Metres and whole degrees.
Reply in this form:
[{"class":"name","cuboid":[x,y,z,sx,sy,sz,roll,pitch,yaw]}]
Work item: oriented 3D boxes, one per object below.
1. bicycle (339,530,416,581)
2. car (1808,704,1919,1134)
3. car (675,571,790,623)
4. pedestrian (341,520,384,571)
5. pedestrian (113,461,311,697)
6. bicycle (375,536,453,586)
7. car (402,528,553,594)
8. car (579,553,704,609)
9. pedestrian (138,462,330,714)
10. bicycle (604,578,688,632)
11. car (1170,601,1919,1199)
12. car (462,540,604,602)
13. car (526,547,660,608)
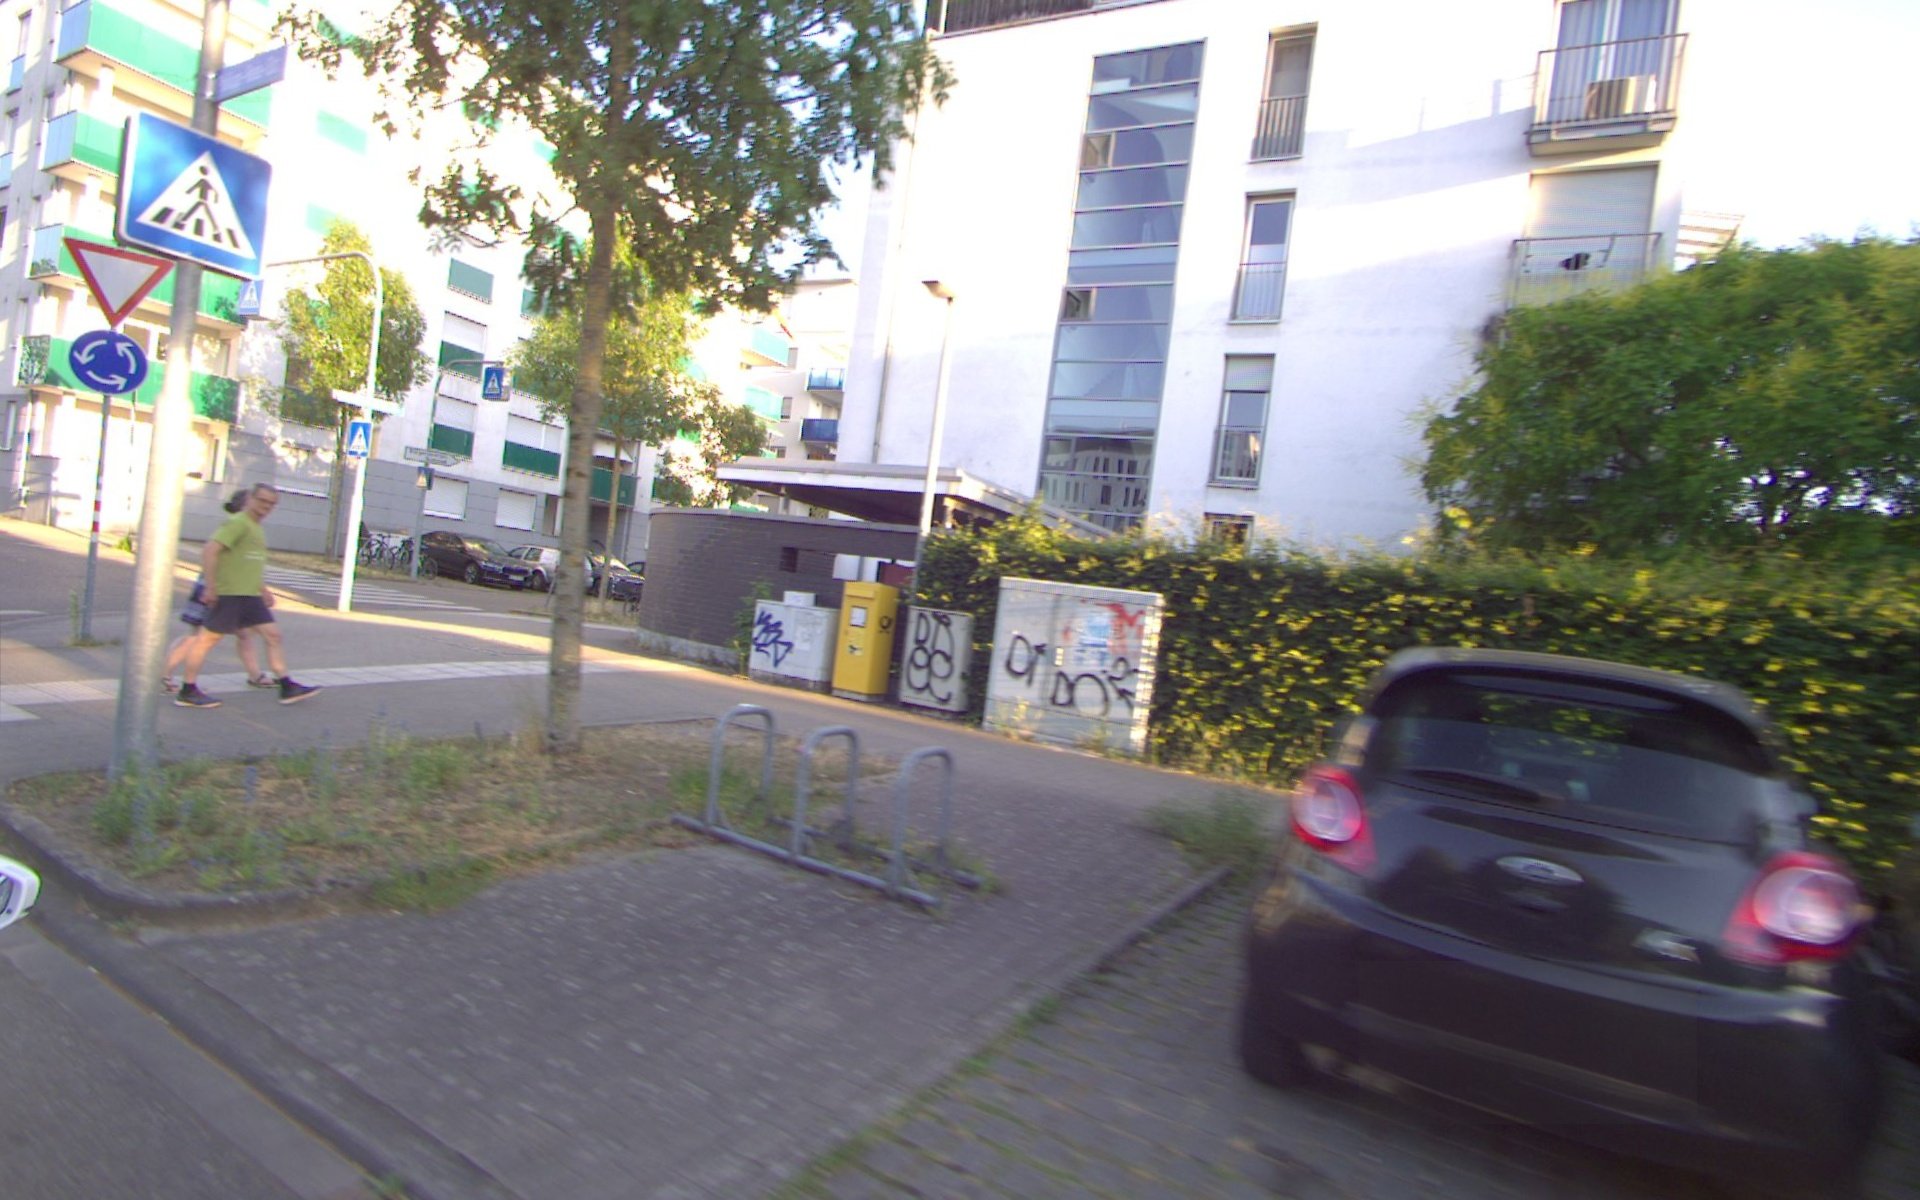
[{"class":"bicycle","cuboid":[-16.829,-1.289,29.033,2.418,1.165,0.697,7,1,29]},{"class":"car","cuboid":[4.089,1.224,2.906,1.650,1.527,3.809,8,0,29]},{"class":"car","cuboid":[-9.798,-0.140,43.214,4.515,1.572,1.997,7,0,30]},{"class":"pedestrian","cuboid":[-17.451,-1.593,29.389,0.789,1.372,0.658,8,1,29]},{"class":"pedestrian","cuboid":[-5.957,-0.167,8.050,0.687,1.716,0.985,7,4,21]},{"class":"bicycle","cuboid":[-16.011,-1.150,29.493,2.478,1.165,0.689,7,1,29]},{"class":"car","cuboid":[-15.338,-1.251,31.941,4.515,1.471,1.997,7,0,30]},{"class":"car","cuboid":[-12.478,-0.755,39.323,4.515,1.572,1.997,7,0,30]},{"class":"pedestrian","cuboid":[-5.298,-0.072,7.411,1.009,1.716,0.754,3,3,-29]},{"class":"bicycle","cuboid":[-7.578,0.112,24.271,1.908,1.127,0.723,4,-1,27]},{"class":"car","cuboid":[2.319,0.981,4.121,1.650,1.527,3.809,7,-1,29]},{"class":"car","cuboid":[-14.529,-0.992,34.195,4.515,1.471,1.997,7,0,30]},{"class":"car","cuboid":[-13.351,-0.826,36.532,4.515,1.572,1.997,7,0,30]}]
